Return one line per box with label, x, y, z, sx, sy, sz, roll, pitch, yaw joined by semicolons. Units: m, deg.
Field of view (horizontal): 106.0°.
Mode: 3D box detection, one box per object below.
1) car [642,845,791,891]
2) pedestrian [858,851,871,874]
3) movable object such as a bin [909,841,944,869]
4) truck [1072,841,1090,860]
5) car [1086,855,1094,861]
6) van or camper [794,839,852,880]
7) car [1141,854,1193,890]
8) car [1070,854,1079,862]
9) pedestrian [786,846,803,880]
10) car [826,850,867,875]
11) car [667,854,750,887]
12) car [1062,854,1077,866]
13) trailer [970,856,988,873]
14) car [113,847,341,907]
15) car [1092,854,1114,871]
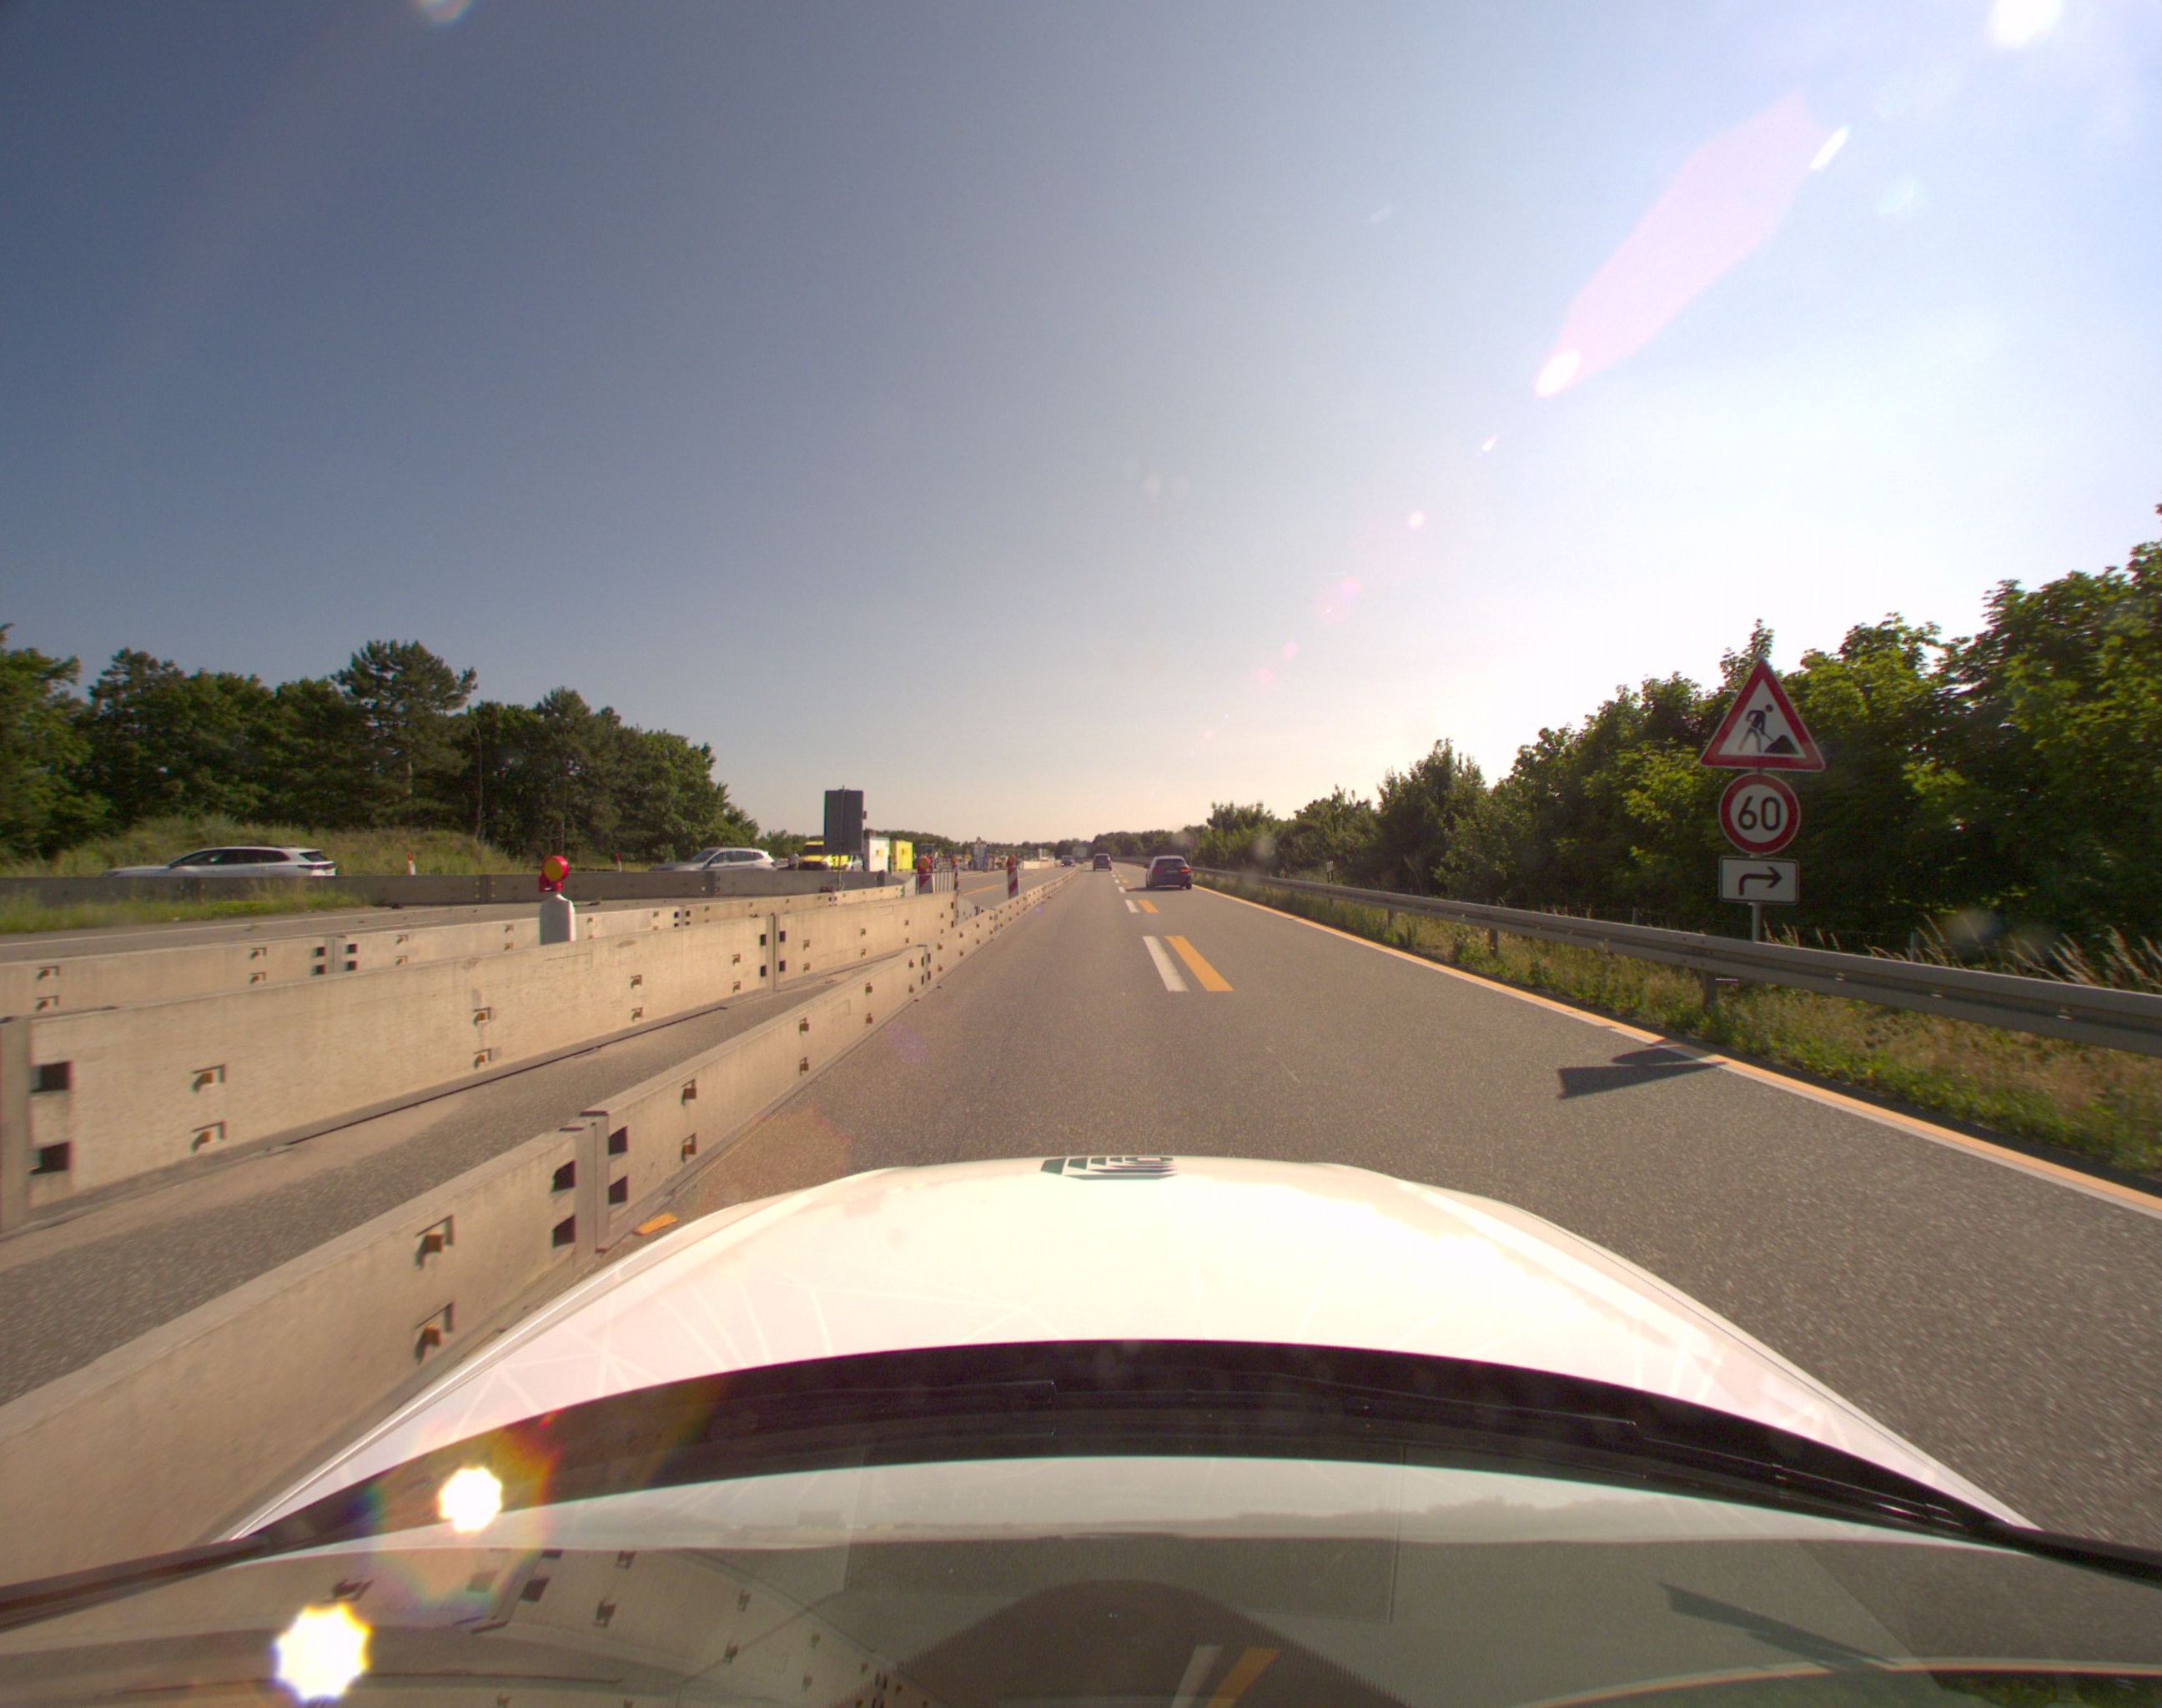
car;-13.886;0.488;31.312;1.974;1.622;4.878;0;0;39
pedestrian;-16.196;0.626;60.857;0.720;1.762;0.720;0;0;0
movable object such as a bin;-15.645;0.076;82.685;2.021;2.715;5.117;-1;0;6
truck;-0.079;-0.896;212.881;3.753;4.911;14.120;0;0;-3
car;2.469;1.128;224.946;1.991;1.688;3.992;0;0;-6
van or camper;-16.516;0.333;52.413;1.989;2.378;6.194;-2;0;-3
car;3.730;0.754;35.986;1.914;1.494;4.000;-1;0;0
car;-1.483;0.891;183.451;1.976;1.651;4.546;0;0;-1
pedestrian;-15.588;0.489;44.265;0.741;1.820;0.794;0;0;-10
car;-16.603;0.606;57.920;1.682;1.685;4.456;0;0;-1
car;-17.136;0.722;37.748;1.856;1.460;4.295;0;0;0
car;-1.515;0.796;109.834;1.852;1.473;4.686;0;0;2
trailer;-10.662;1.079;85.100;1.716;1.648;3.528;1;0;-5
car;-23.838;0.600;22.973;4.011;1.554;1.942;0;0;-29
car;2.144;0.788;77.789;1.986;1.567;4.002;-1;0;2
